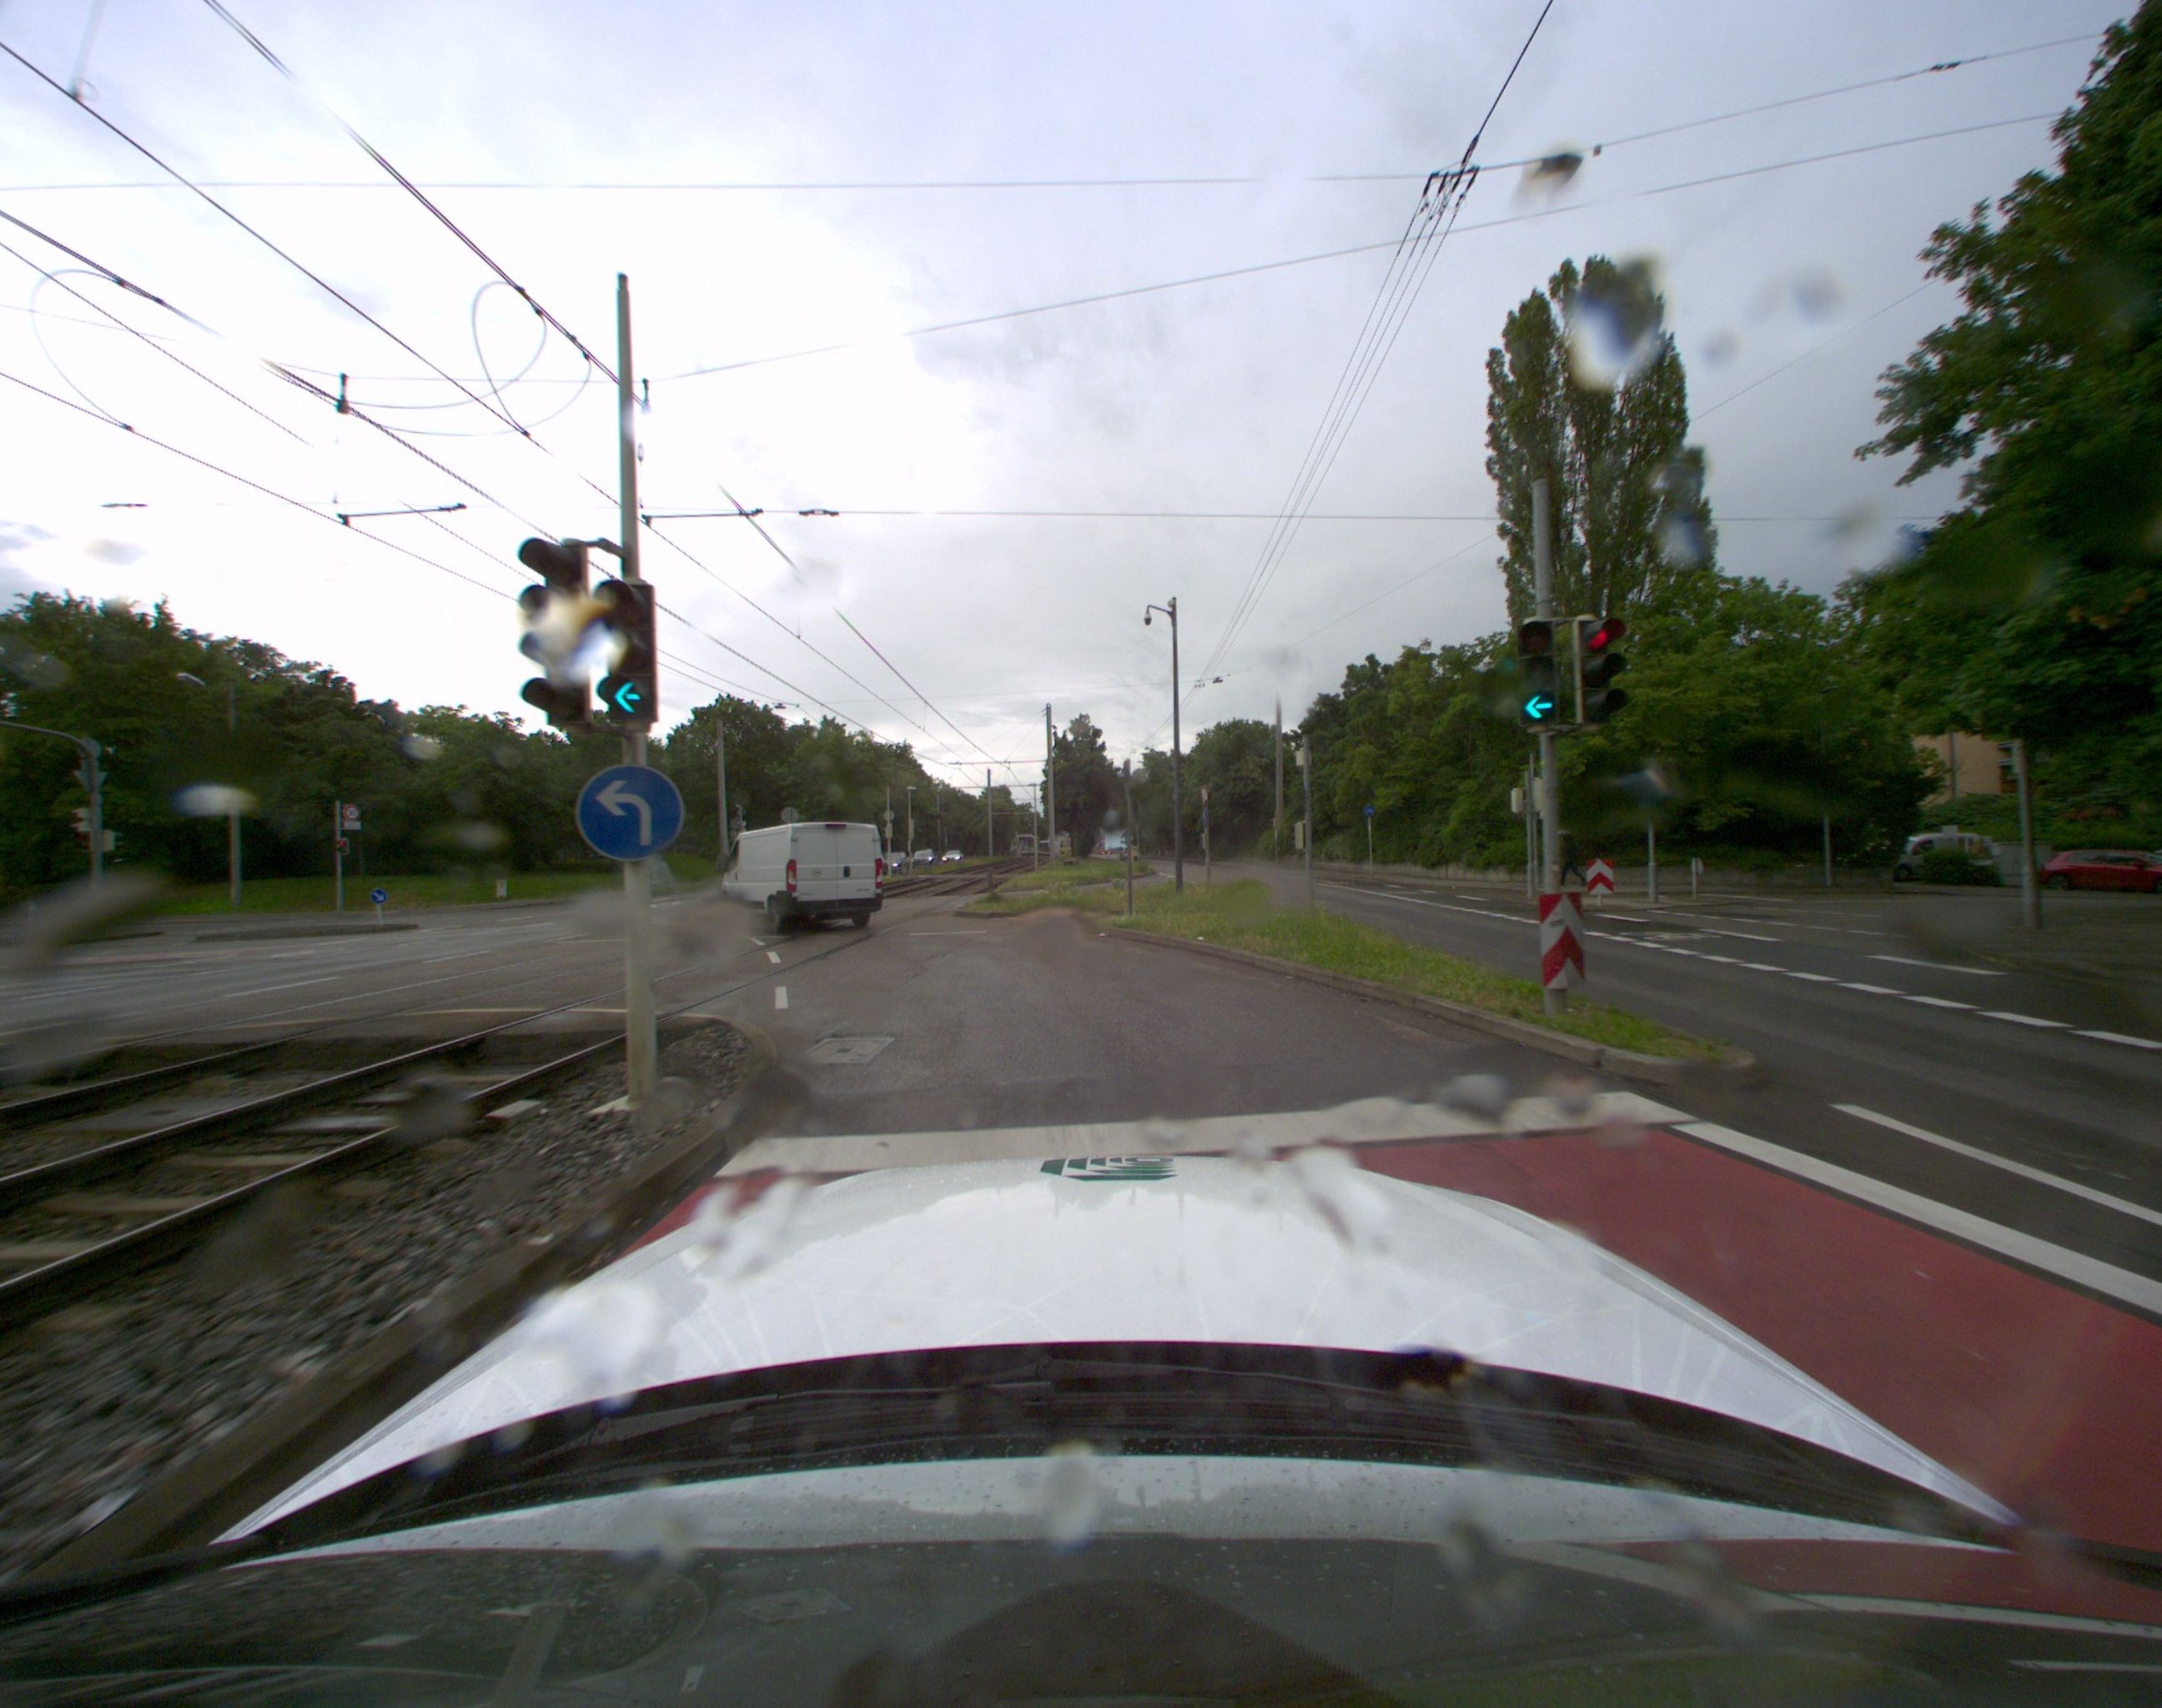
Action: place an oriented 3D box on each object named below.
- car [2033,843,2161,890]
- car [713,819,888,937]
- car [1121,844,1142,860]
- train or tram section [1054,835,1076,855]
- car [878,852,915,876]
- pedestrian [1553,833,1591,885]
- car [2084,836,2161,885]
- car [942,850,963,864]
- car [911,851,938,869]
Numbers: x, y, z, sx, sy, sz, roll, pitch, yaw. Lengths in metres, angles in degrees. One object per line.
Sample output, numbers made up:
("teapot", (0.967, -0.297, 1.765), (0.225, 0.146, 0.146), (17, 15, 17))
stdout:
("car", (33.050, 0.366, 25.512), (1.669, 1.354, 3.994), (-1, 0, -4))
("car", (-6.490, 0.436, 18.429), (2.164, 2.283, 5.005), (-2, 1, -38))
("car", (4.875, -0.247, 78.972), (1.698, 1.521, 3.791), (0, 1, 0))
("train or tram section", (-3.341, -1.800, 173.175), (4.046, 3.894, 15.042), (-1, 0, 1))
("car", (-12.708, 0.659, 56.281), (1.596, 1.401, 3.791), (-4, 1, -1))
("pedestrian", (15.604, 0.165, 25.894), (0.804, 1.607, 0.683), (0, -2, 2))
("car", (35.017, 0.197, 25.706), (1.669, 1.548, 3.994), (-1, 0, -4))
("car", (-14.058, 0.309, 89.305), (1.596, 1.401, 3.791), (-3, 1, -1))
("car", (-13.583, 0.484, 70.779), (1.596, 1.401, 3.791), (-2, 1, -1))
